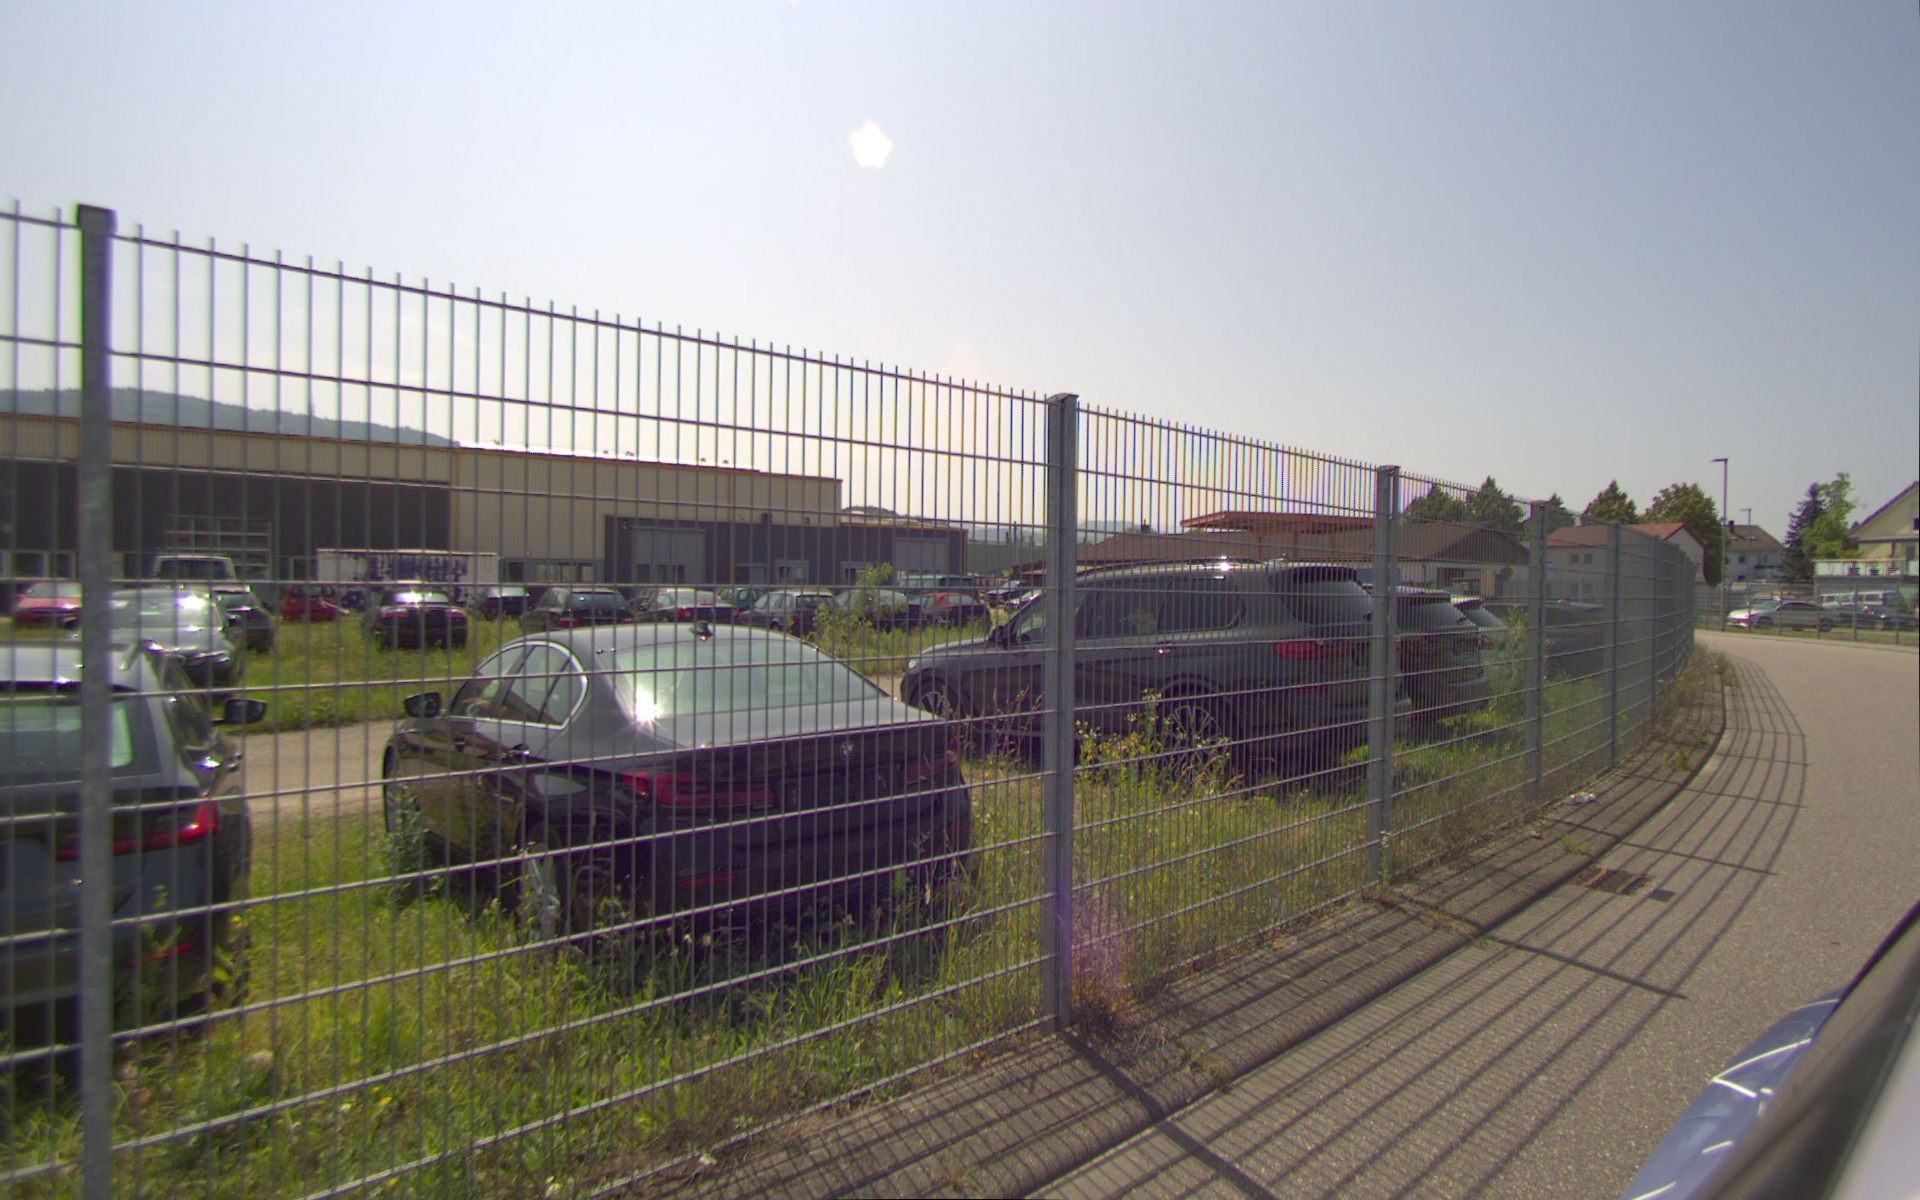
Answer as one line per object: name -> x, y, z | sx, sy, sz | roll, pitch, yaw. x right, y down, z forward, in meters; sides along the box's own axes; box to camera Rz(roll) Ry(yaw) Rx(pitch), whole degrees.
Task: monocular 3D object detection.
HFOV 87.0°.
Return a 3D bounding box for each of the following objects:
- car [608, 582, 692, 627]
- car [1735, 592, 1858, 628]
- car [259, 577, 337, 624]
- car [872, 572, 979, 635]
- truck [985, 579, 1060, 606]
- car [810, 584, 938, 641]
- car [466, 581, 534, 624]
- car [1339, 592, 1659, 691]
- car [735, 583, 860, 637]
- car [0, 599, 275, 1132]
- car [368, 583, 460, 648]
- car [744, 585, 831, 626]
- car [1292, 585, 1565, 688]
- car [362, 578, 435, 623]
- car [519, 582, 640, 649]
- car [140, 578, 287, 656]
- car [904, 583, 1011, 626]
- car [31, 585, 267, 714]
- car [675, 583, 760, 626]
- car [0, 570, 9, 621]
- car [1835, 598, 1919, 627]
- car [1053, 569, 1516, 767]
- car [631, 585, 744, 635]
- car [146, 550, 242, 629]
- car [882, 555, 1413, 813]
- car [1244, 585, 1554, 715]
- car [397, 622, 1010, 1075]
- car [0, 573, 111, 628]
car -> -10.815, 0.113, 35.120 | 1.805, 1.395, 4.395 | 1, 1, -30
car -> 40.415, 0.458, 49.040 | 4.358, 1.590, 1.805 | 1, 1, 31
car -> -20.977, -0.029, 32.131 | 1.935, 1.339, 4.393 | 1, 1, -33
car -> -1.272, 0.068, 34.893 | 1.805, 2.006, 4.395 | 1, 1, -30
truck -> 4.260, -0.497, 69.143 | 4.703, 1.820, 2.064 | 0, 1, -28
car -> -2.449, 0.297, 27.864 | 1.805, 1.362, 4.395 | 1, 1, -30
car -> -16.630, 0.070, 36.457 | 1.805, 1.395, 4.395 | 1, 1, -30
car -> 8.803, 0.592, 16.865 | 1.689, 1.334, 4.384 | 0, 1, -40
car -> -4.360, 0.220, 26.583 | 1.805, 1.221, 4.395 | 1, 1, -30
car -> -4.230, 0.762, 4.585 | 1.691, 1.399, 4.483 | 1, 1, -36
car -> -11.705, 0.268, 21.598 | 1.545, 1.198, 4.395 | 1, 1, -30
car -> -6.600, 0.177, 38.405 | 1.805, 1.395, 4.395 | 1, 1, -30
car -> 7.136, 0.483, 15.648 | 1.612, 1.334, 3.473 | 0, 1, -40
car -> -19.536, -0.016, 35.124 | 1.935, 1.403, 4.393 | 1, 1, -33
car -> -8.629, 0.296, 22.734 | 1.841, 1.291, 4.395 | 1, 1, -30
car -> -14.177, 0.256, 19.452 | 1.785, 1.285, 4.395 | 1, 1, -30
car -> -0.125, 0.108, 29.349 | 1.638, 1.122, 3.379 | 1, 1, -30
car -> -10.750, 0.525, 13.781 | 1.785, 1.368, 4.765 | 1, 1, -30
car -> -8.894, 0.122, 36.857 | 1.805, 1.395, 4.395 | 1, 1, -30
car -> -28.417, -0.095, 28.233 | 1.935, 1.504, 4.393 | 1, 1, -33
car -> 51.163, 0.676, 56.285 | 1.785, 1.482, 3.684 | 0, 1, -1
car -> 3.177, 0.519, 10.538 | 4.295, 1.623, 1.666 | 2, 1, 43
car -> -6.780, 0.208, 24.882 | 1.586, 1.046, 4.395 | 1, 1, -30
car -> -23.006, -0.344, 30.557 | 1.935, 2.199, 4.393 | 1, 1, -33
car -> 1.433, 0.515, 9.321 | 1.713, 1.791, 4.690 | 0, 1, -43
car -> 5.708, 0.557, 13.402 | 3.466, 1.435, 1.492 | 2, 1, 44
car -> -1.793, 0.835, 5.527 | 1.691, 1.399, 4.476 | 0, -1, -36
car -> -25.710, -0.022, 28.647 | 1.805, 1.395, 4.395 | 1, 1, -30
